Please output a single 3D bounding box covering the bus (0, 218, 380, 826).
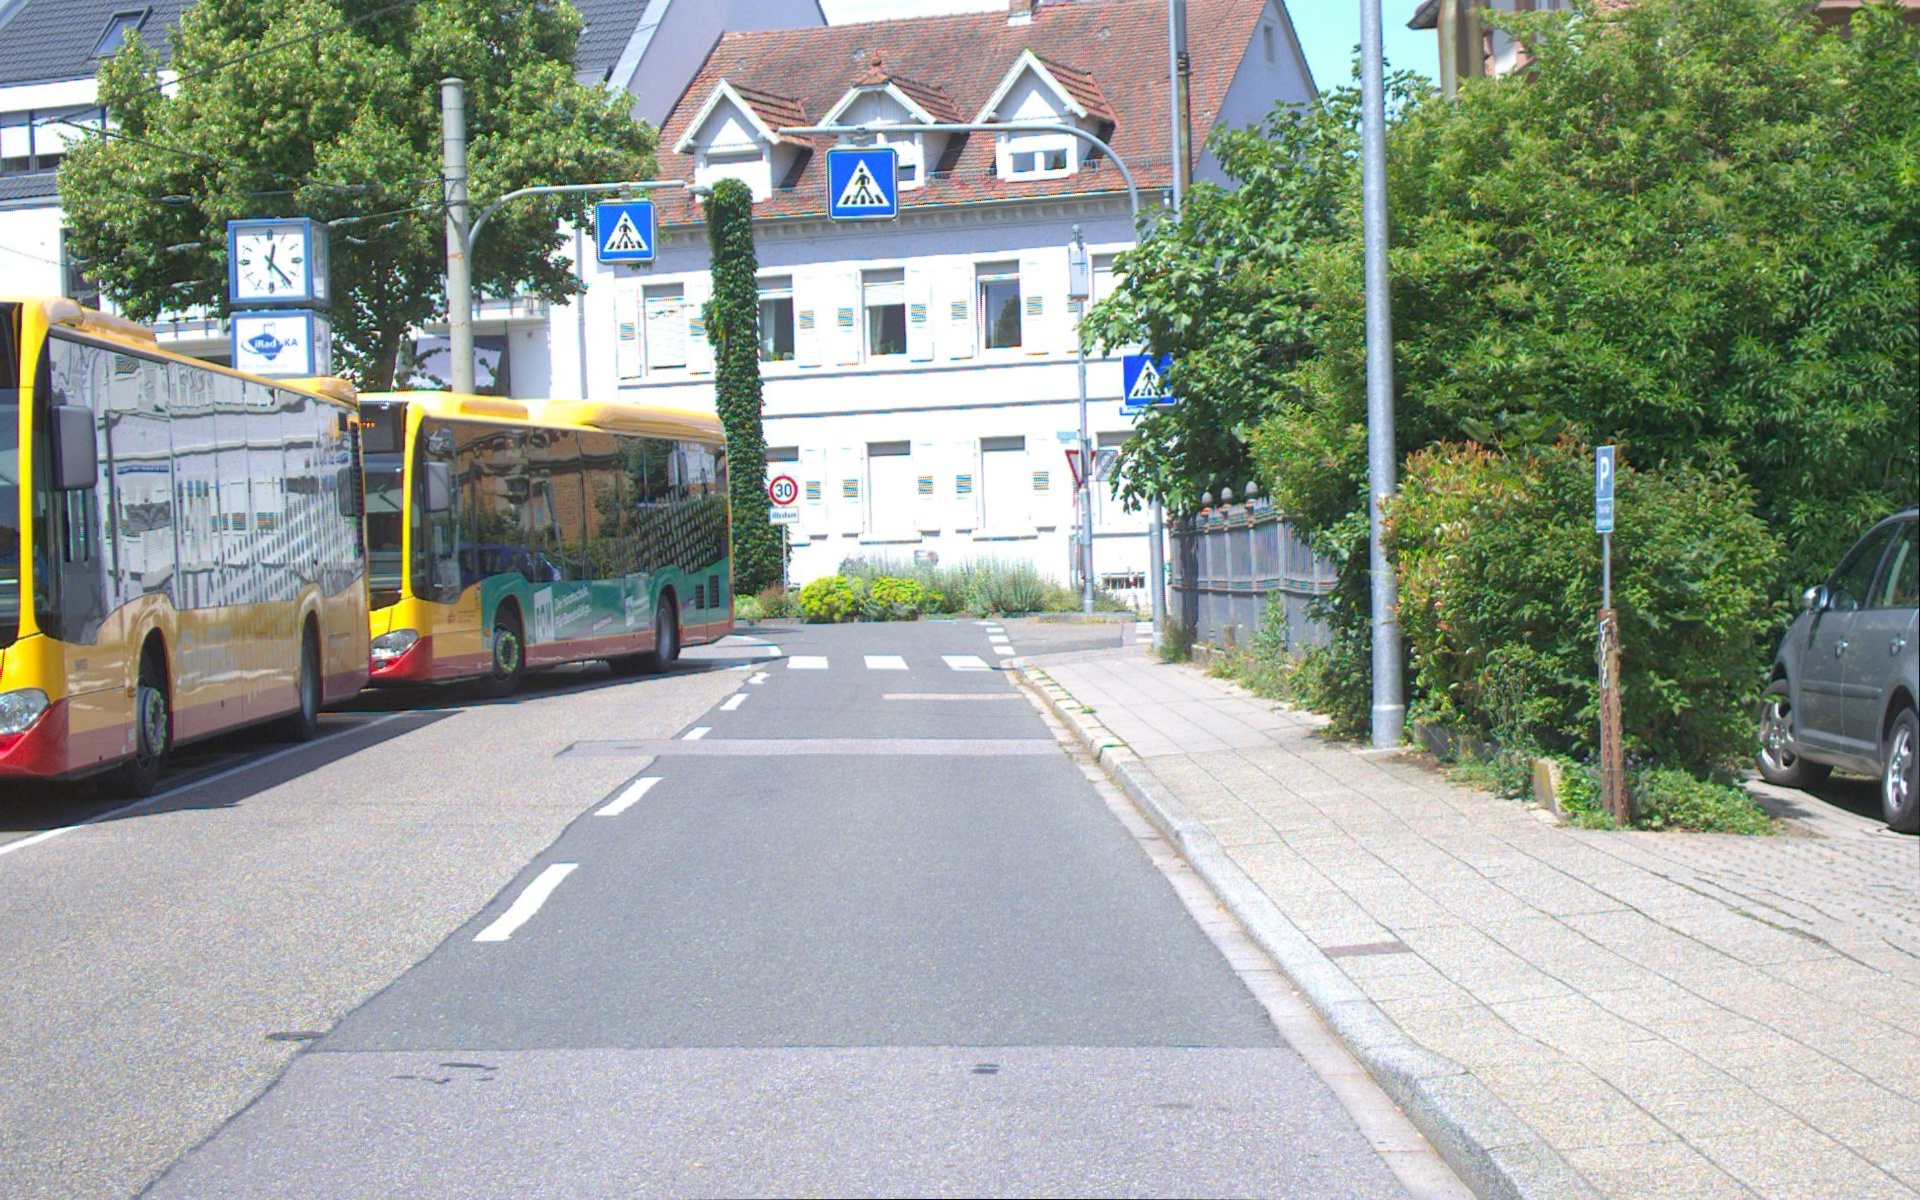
[{"bbox_3d":[-6.442,-0.468,24.326,2.907,3.237,12.119,0,1,-1],"label":"bus"}]

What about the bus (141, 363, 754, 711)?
[{"bbox_3d":[-5.134,-0.764,37.950,2.781,3.197,12.301,0,2,11],"label":"bus"}]

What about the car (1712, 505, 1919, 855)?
[{"bbox_3d":[5.295,0.432,17.805,1.760,1.622,4.000,4,-1,-1],"label":"car"}]
